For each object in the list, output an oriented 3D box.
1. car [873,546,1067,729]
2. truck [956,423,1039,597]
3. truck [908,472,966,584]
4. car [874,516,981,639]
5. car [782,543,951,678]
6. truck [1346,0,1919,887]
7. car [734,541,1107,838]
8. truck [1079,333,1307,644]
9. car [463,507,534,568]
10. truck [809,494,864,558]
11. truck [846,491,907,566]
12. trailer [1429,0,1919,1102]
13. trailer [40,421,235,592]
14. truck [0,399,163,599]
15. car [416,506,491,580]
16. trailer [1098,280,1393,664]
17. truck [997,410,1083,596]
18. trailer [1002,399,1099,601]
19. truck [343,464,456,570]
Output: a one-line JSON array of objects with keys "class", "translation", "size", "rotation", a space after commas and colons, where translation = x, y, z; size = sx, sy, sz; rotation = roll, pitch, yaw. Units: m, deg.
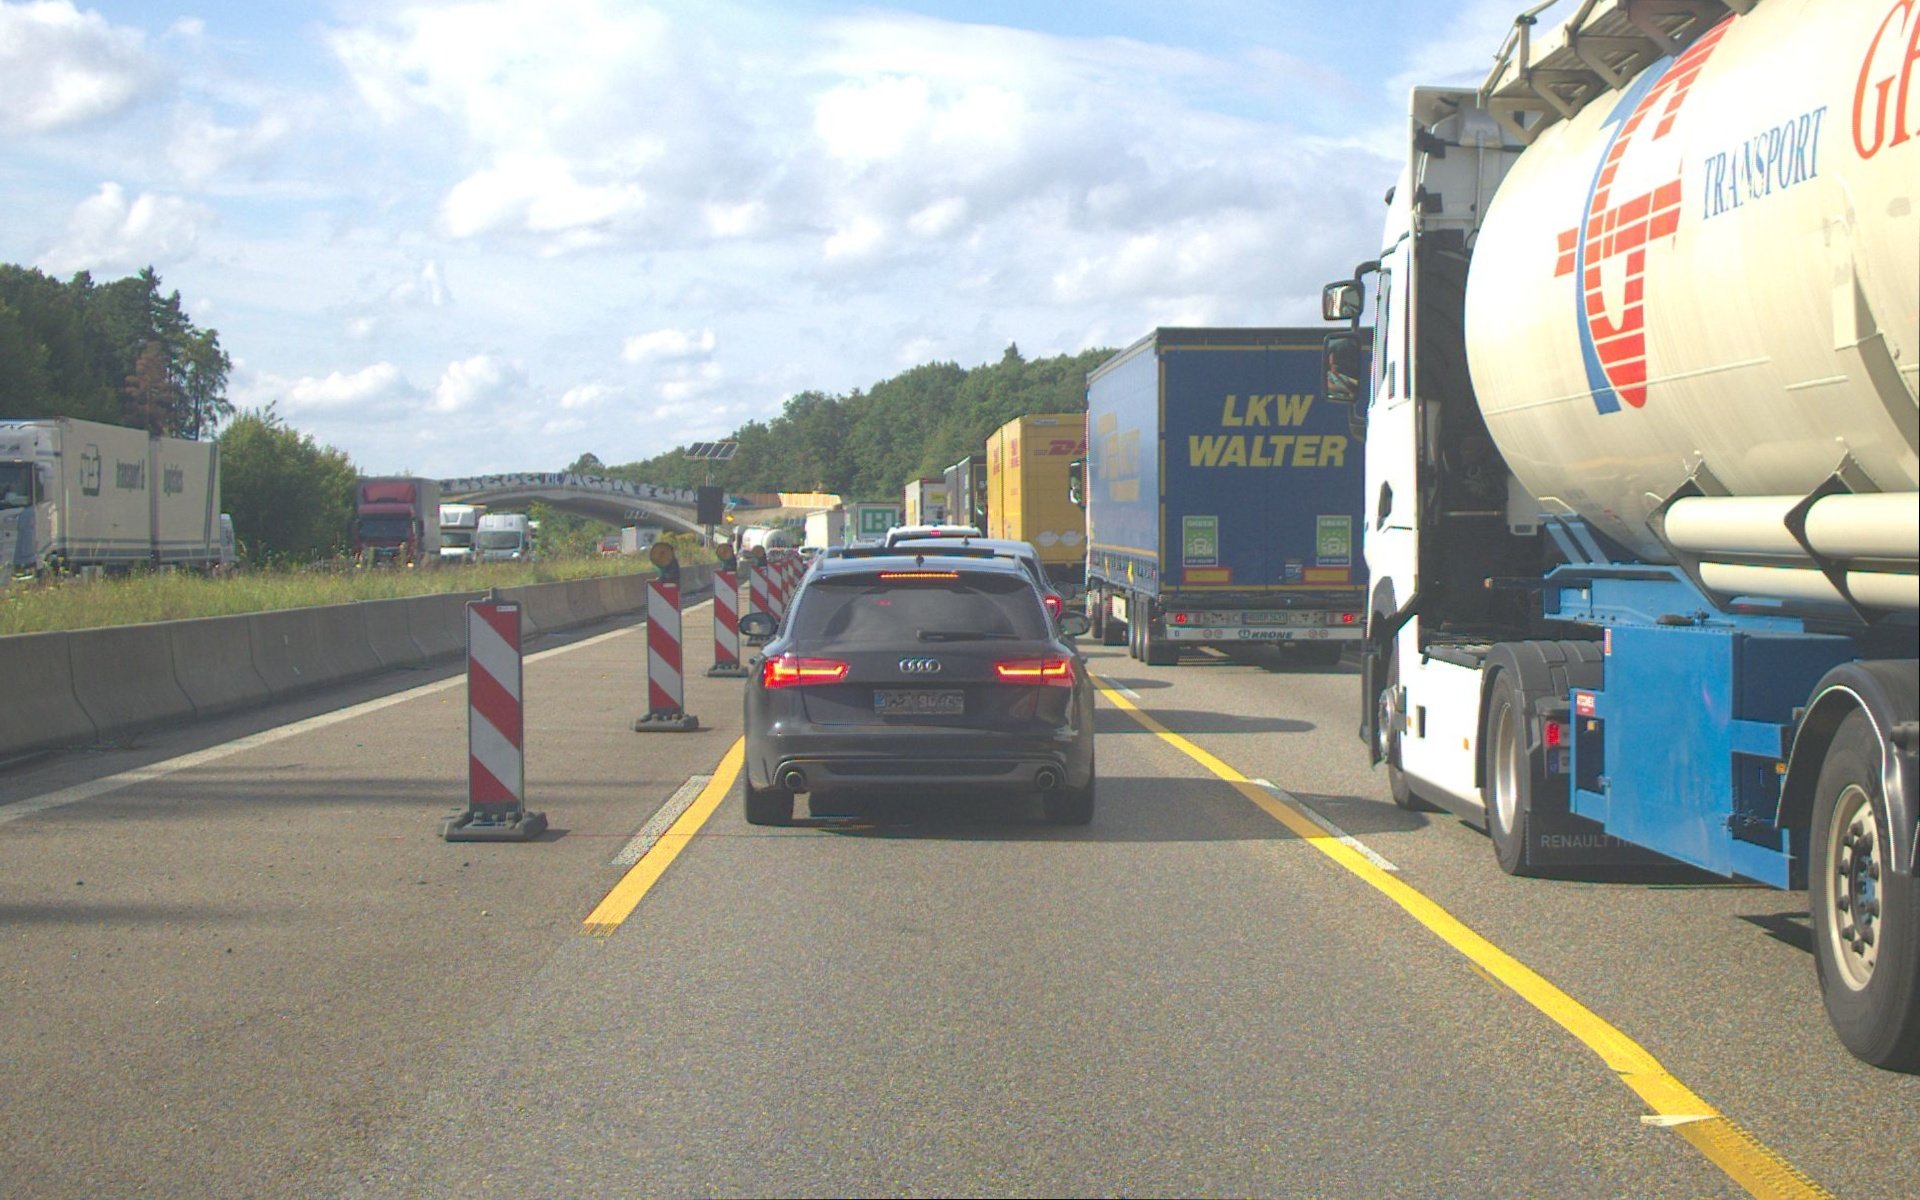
[{"class": "car", "translation": [0.062, 0.282, 28.979], "size": [1.524, 1.434, 3.285], "rotation": [1, 1, -1]}, {"class": "truck", "translation": [1.059, -2.633, 101.984], "size": [1.993, 4.897, 9.563], "rotation": [1, 1, -2]}, {"class": "truck", "translation": [-0.933, -2.769, 134.109], "size": [2.137, 4.243, 7.072], "rotation": [1, 0, -1]}, {"class": "car", "translation": [-0.496, -0.353, 53.132], "size": [1.581, 1.830, 3.112], "rotation": [1, 0, 0]}, {"class": "car", "translation": [-0.994, 0.094, 37.722], "size": [1.751, 1.392, 3.608], "rotation": [1, 1, 0]}, {"class": "truck", "translation": [3.683, -0.788, 17.534], "size": [2.659, 3.958, 5.779], "rotation": [1, 0, -1]}, {"class": "car", "translation": [-0.214, 0.414, 19.179], "size": [1.848, 1.458, 4.000], "rotation": [1, 1, -1]}, {"class": "truck", "translation": [3.431, -1.611, 52.467], "size": [2.806, 4.354, 7.792], "rotation": [1, 0, -1]}, {"class": "car", "translation": [-19.298, -2.623, 144.035], "size": [2.160, 2.443, 6.332], "rotation": [1, 1, 0]}, {"class": "truck", "translation": [-8.209, -4.892, 227.698], "size": [3.303, 4.160, 9.704], "rotation": [0, 1, -4]}, {"class": "truck", "translation": [-4.826, -4.085, 197.546], "size": [3.304, 4.160, 9.703], "rotation": [0, 1, -2]}, {"class": "trailer", "translation": [3.762, -0.706, 10.868], "size": [2.644, 3.929, 12.598], "rotation": [1, 1, -1]}, {"class": "trailer", "translation": [-19.871, -2.198, 83.544], "size": [2.790, 3.910, 8.489], "rotation": [1, 0, -1]}, {"class": "truck", "translation": [-19.732, -2.071, 73.866], "size": [2.782, 3.971, 10.863], "rotation": [1, 1, -1]}, {"class": "car", "translation": [-23.769, -2.643, 161.646], "size": [2.487, 3.358, 7.453], "rotation": [1, 1, -1]}, {"class": "trailer", "translation": [3.503, -1.526, 44.907], "size": [2.805, 4.398, 10.433], "rotation": [1, 1, -1]}, {"class": "truck", "translation": [1.696, -2.047, 74.021], "size": [1.609, 3.883, 4.072], "rotation": [1, 0, -1]}, {"class": "trailer", "translation": [1.797, -1.966, 70.034], "size": [1.616, 3.905, 6.490], "rotation": [1, 0, -1]}, {"class": "truck", "translation": [-22.008, -3.251, 135.470], "size": [2.800, 3.978, 10.186], "rotation": [1, 1, 0]}]
